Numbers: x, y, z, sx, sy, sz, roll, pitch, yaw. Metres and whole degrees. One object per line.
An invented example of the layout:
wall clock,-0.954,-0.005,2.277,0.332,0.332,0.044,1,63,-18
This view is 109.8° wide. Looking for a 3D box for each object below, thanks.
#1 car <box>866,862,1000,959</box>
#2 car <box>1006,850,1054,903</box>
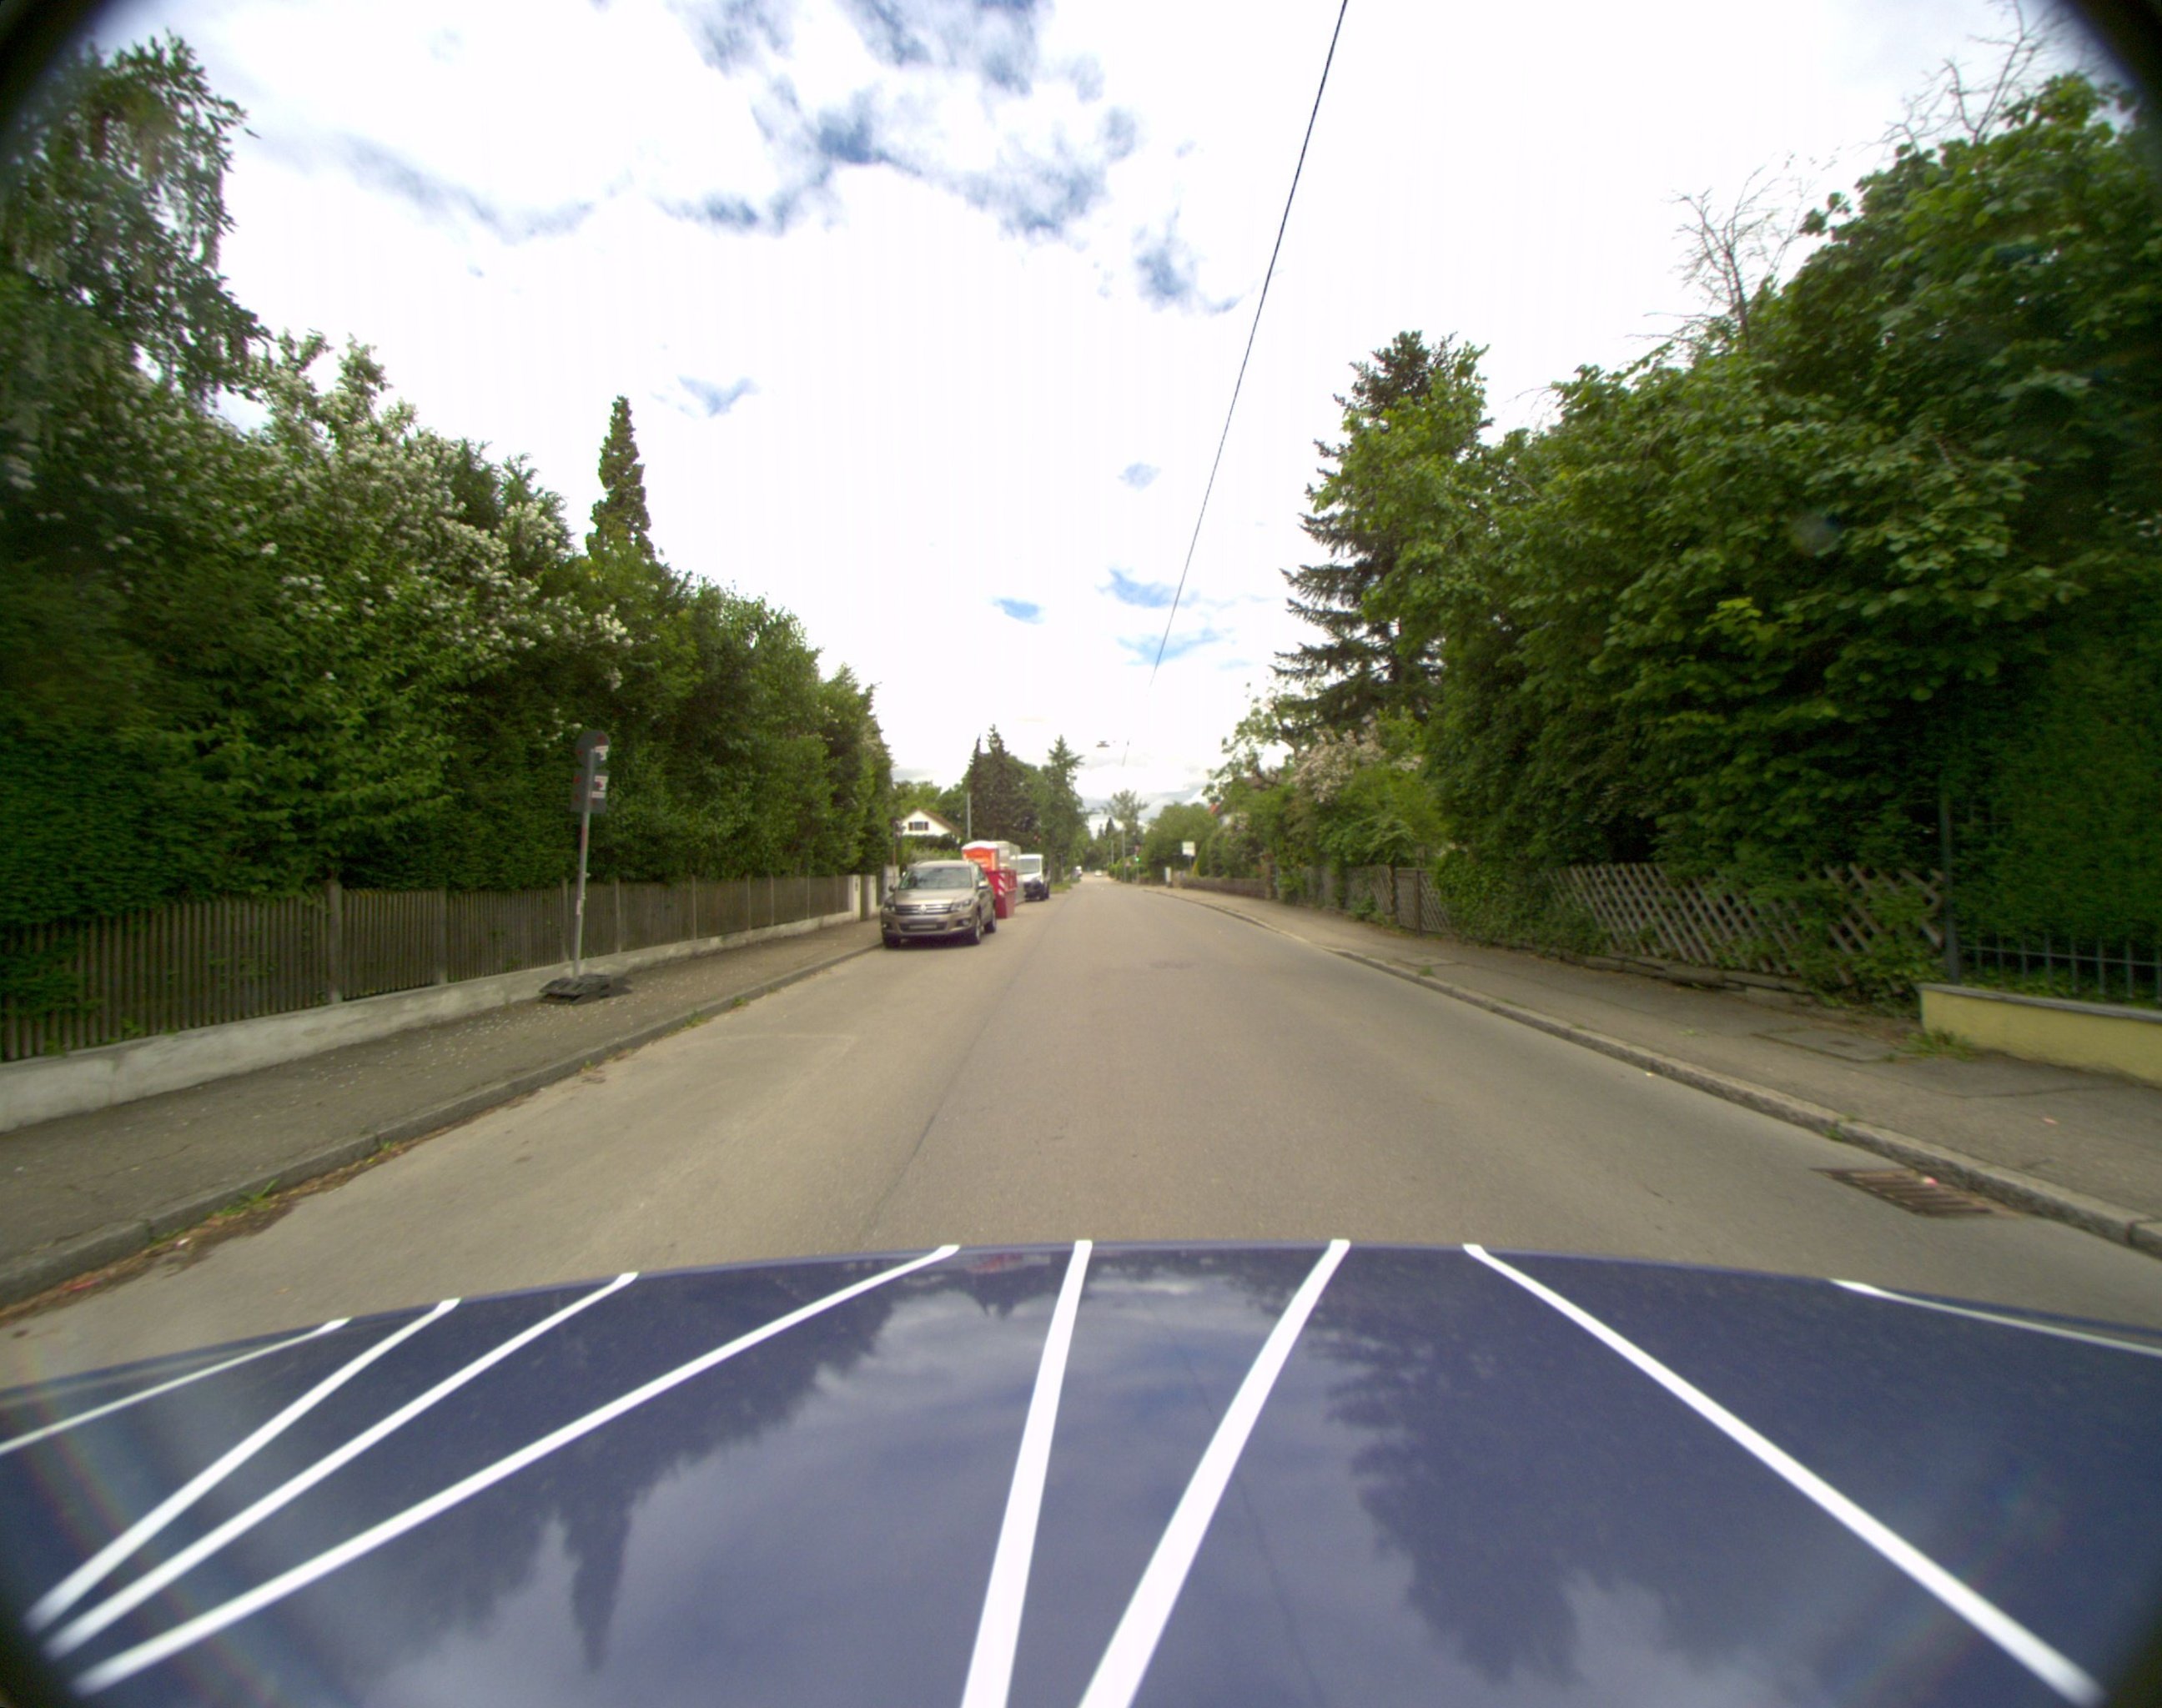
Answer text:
car,-2.854,1.032,15.573,1.878,1.622,4.125,-2,0,0
car,-2.343,0.990,36.050,1.854,2.211,5.367,-4,0,-1
